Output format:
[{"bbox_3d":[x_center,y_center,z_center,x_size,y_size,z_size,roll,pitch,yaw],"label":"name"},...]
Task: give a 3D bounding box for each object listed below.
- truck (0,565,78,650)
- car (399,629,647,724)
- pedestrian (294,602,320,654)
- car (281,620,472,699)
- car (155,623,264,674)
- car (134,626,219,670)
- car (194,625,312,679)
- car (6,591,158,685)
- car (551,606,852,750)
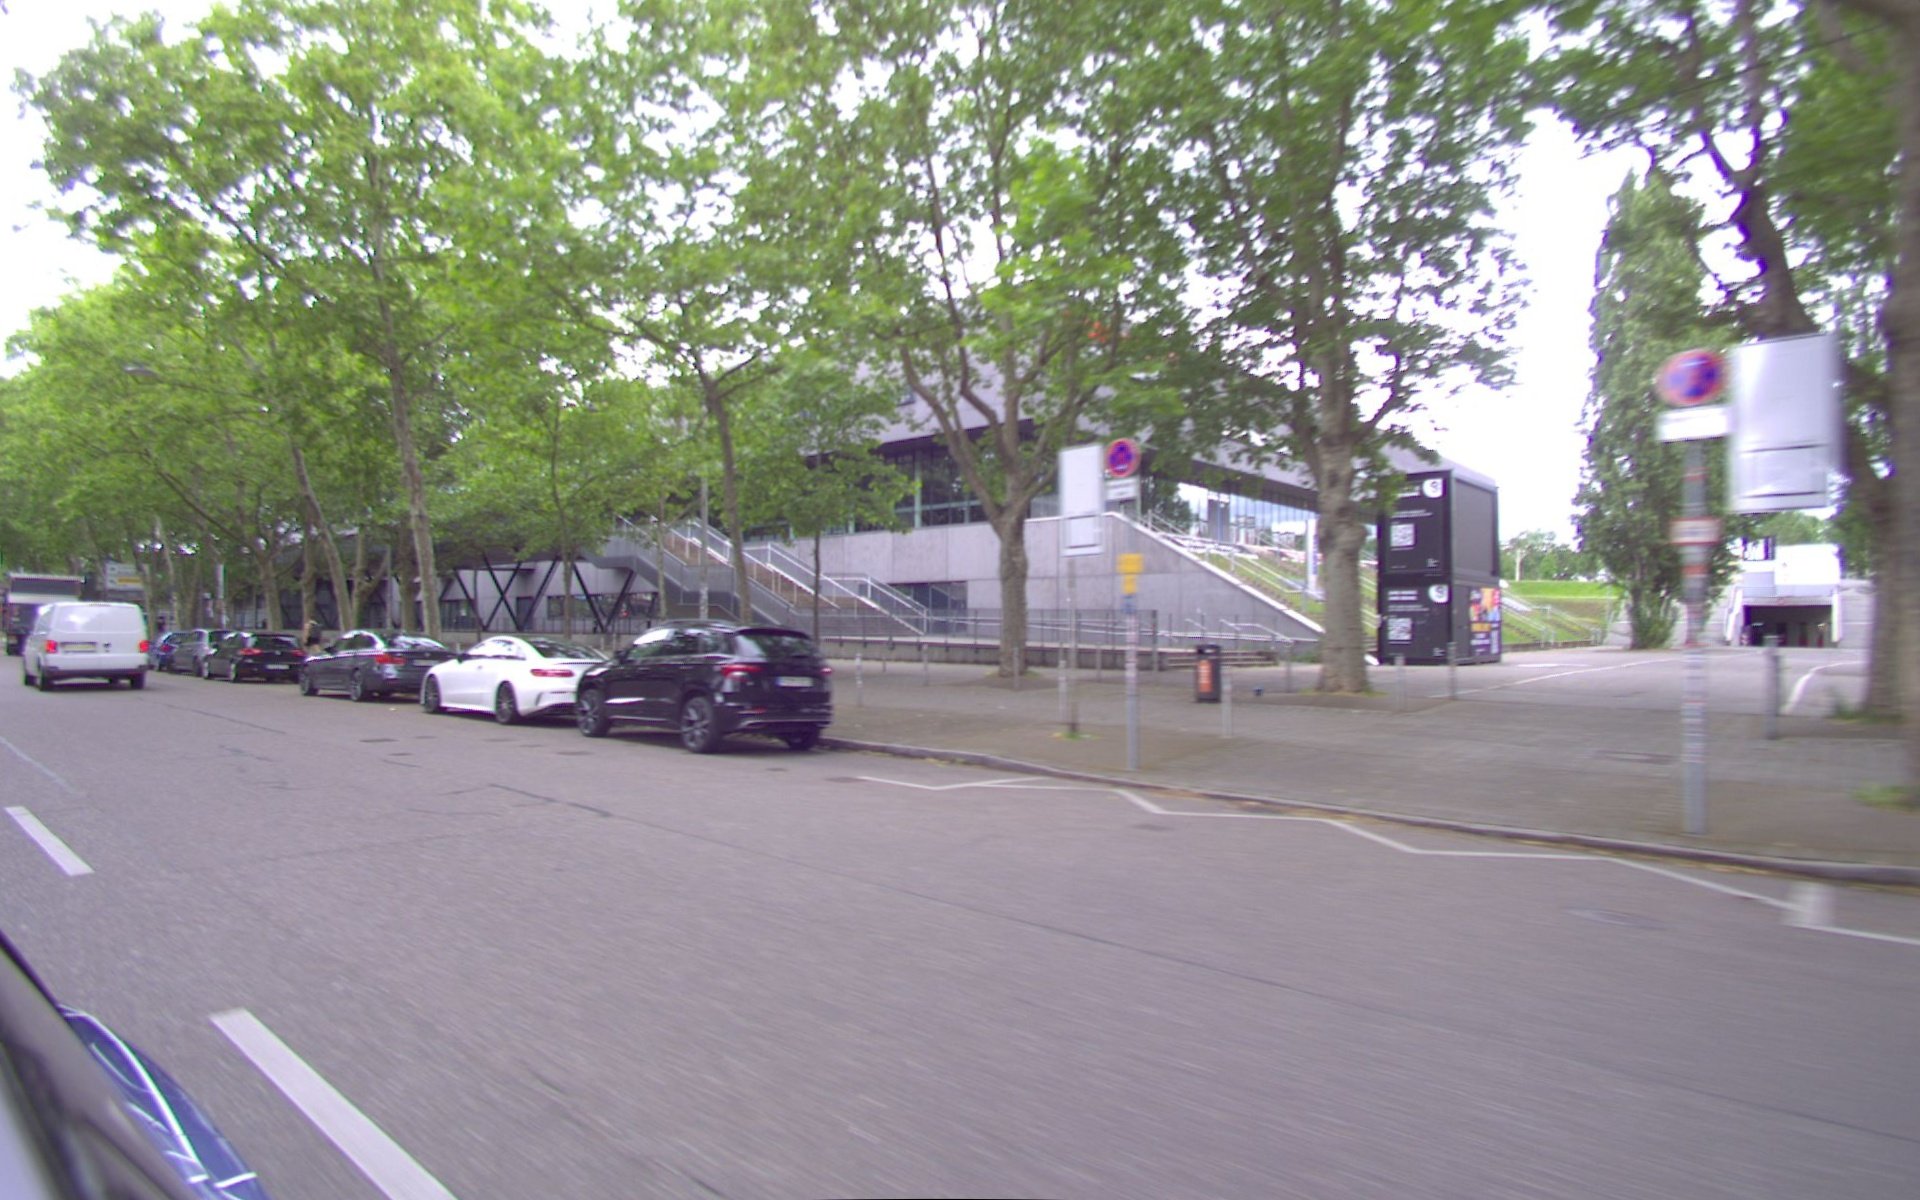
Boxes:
[{"bbox_3d":[-46.493,0.439,51.001,2.874,3.898,9.480,3,-3,-41],"label":"truck"},{"bbox_3d":[-7.448,1.202,16.973,5.002,1.373,1.797,-2,-4,41],"label":"car"},{"bbox_3d":[-23.548,1.015,36.497,0.825,1.854,0.502,-1,-2,35],"label":"pedestrian"},{"bbox_3d":[-12.499,1.206,21.542,4.988,1.496,1.801,-1,-3,39],"label":"car"},{"bbox_3d":[-23.826,1.528,32.105,3.644,1.489,1.679,-1,-5,36],"label":"car"},{"bbox_3d":[-27.341,1.669,35.262,4.001,1.372,1.675,-2,-7,44],"label":"car"},{"bbox_3d":[-20.141,1.459,28.761,4.329,1.392,1.690,-2,-6,41],"label":"car"},{"bbox_3d":[-20.856,0.890,23.954,5.464,1.976,2.037,-2,-3,42],"label":"car"},{"bbox_3d":[-3.552,0.968,13.447,4.345,1.606,1.797,-1,-5,44],"label":"car"}]
